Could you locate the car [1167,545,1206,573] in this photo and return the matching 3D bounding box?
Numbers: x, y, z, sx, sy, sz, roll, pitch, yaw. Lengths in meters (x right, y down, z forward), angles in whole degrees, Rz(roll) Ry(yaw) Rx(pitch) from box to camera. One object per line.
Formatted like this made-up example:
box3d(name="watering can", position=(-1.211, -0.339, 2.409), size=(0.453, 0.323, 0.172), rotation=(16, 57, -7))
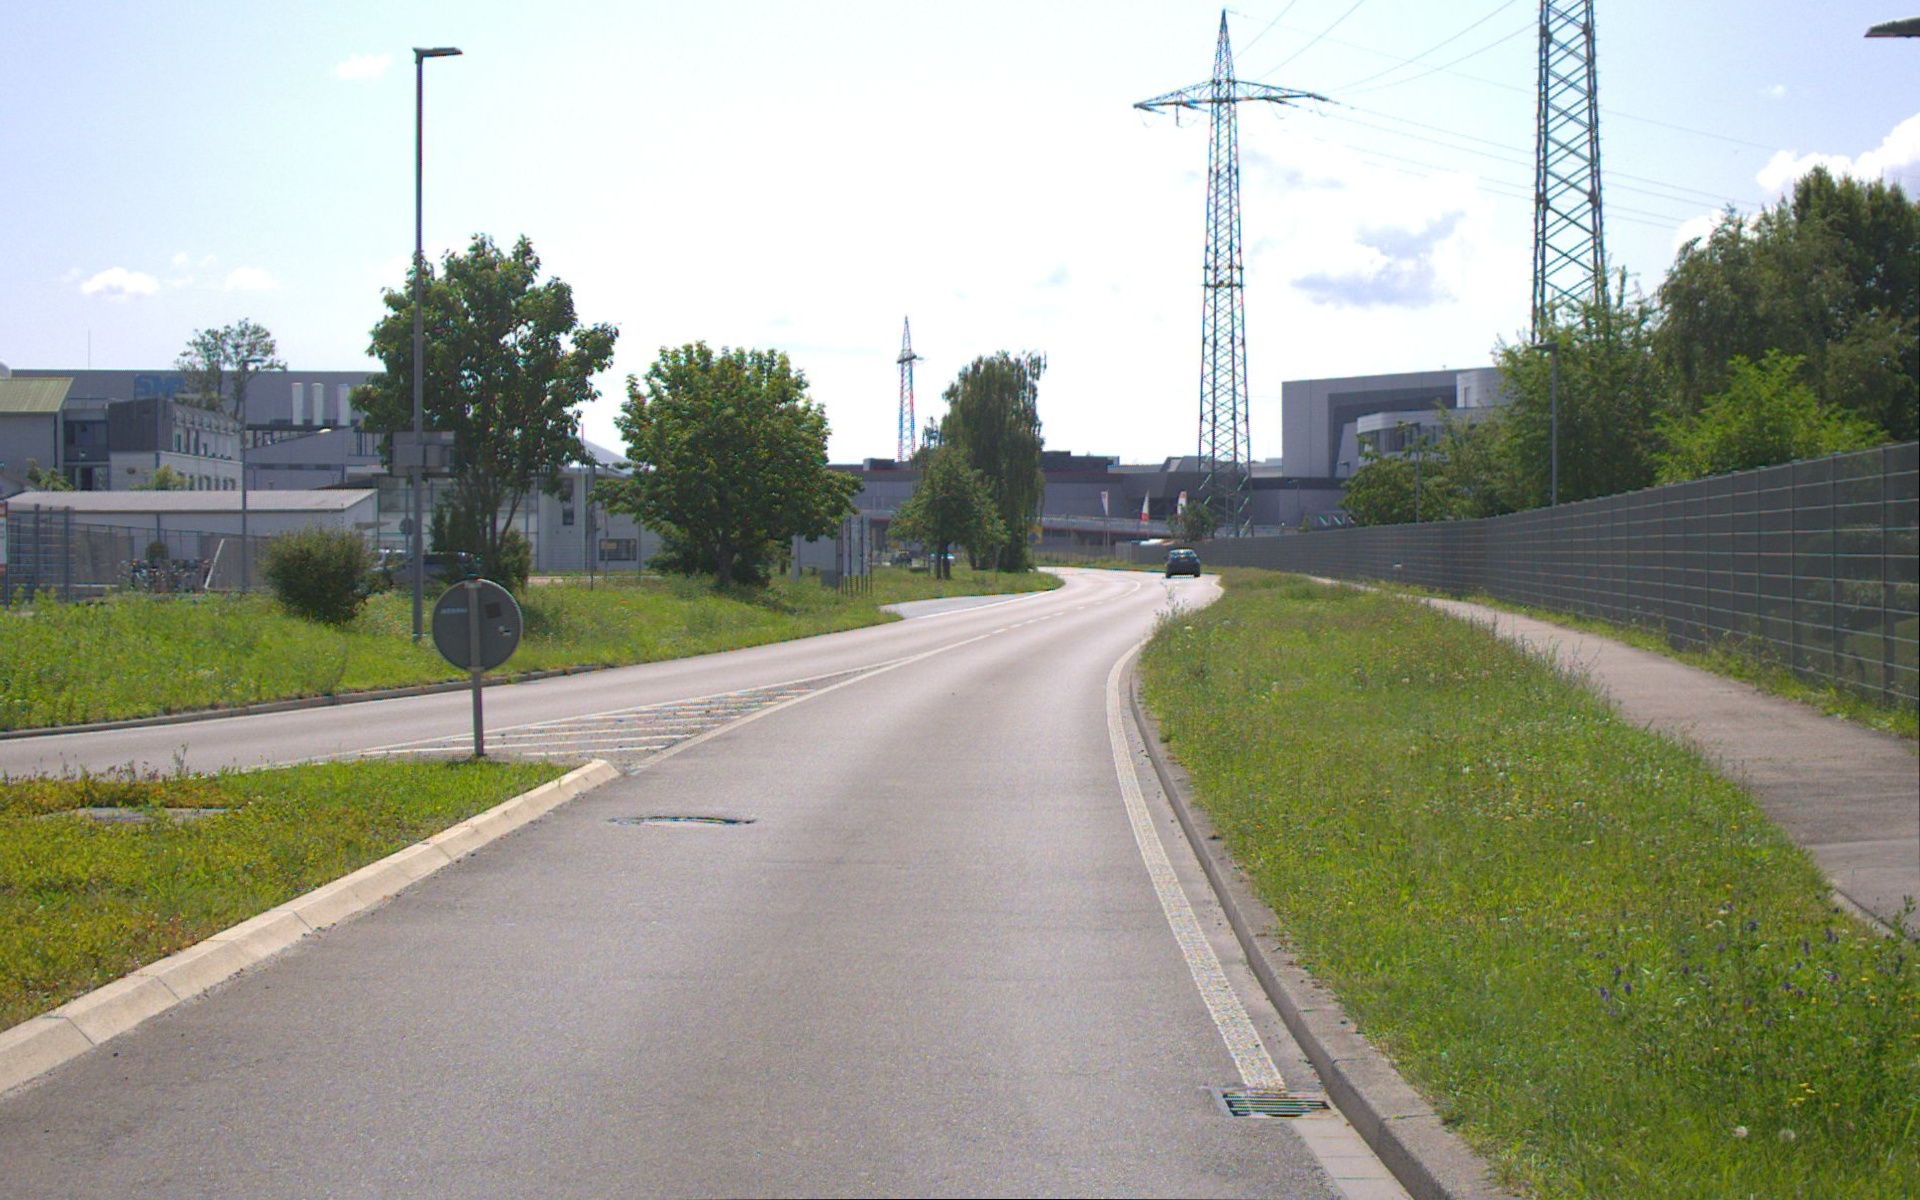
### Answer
box3d(name="car", position=(12.328, -2.225, 187.351), size=(2.012, 1.503, 4.000), rotation=(0, 1, 2))
